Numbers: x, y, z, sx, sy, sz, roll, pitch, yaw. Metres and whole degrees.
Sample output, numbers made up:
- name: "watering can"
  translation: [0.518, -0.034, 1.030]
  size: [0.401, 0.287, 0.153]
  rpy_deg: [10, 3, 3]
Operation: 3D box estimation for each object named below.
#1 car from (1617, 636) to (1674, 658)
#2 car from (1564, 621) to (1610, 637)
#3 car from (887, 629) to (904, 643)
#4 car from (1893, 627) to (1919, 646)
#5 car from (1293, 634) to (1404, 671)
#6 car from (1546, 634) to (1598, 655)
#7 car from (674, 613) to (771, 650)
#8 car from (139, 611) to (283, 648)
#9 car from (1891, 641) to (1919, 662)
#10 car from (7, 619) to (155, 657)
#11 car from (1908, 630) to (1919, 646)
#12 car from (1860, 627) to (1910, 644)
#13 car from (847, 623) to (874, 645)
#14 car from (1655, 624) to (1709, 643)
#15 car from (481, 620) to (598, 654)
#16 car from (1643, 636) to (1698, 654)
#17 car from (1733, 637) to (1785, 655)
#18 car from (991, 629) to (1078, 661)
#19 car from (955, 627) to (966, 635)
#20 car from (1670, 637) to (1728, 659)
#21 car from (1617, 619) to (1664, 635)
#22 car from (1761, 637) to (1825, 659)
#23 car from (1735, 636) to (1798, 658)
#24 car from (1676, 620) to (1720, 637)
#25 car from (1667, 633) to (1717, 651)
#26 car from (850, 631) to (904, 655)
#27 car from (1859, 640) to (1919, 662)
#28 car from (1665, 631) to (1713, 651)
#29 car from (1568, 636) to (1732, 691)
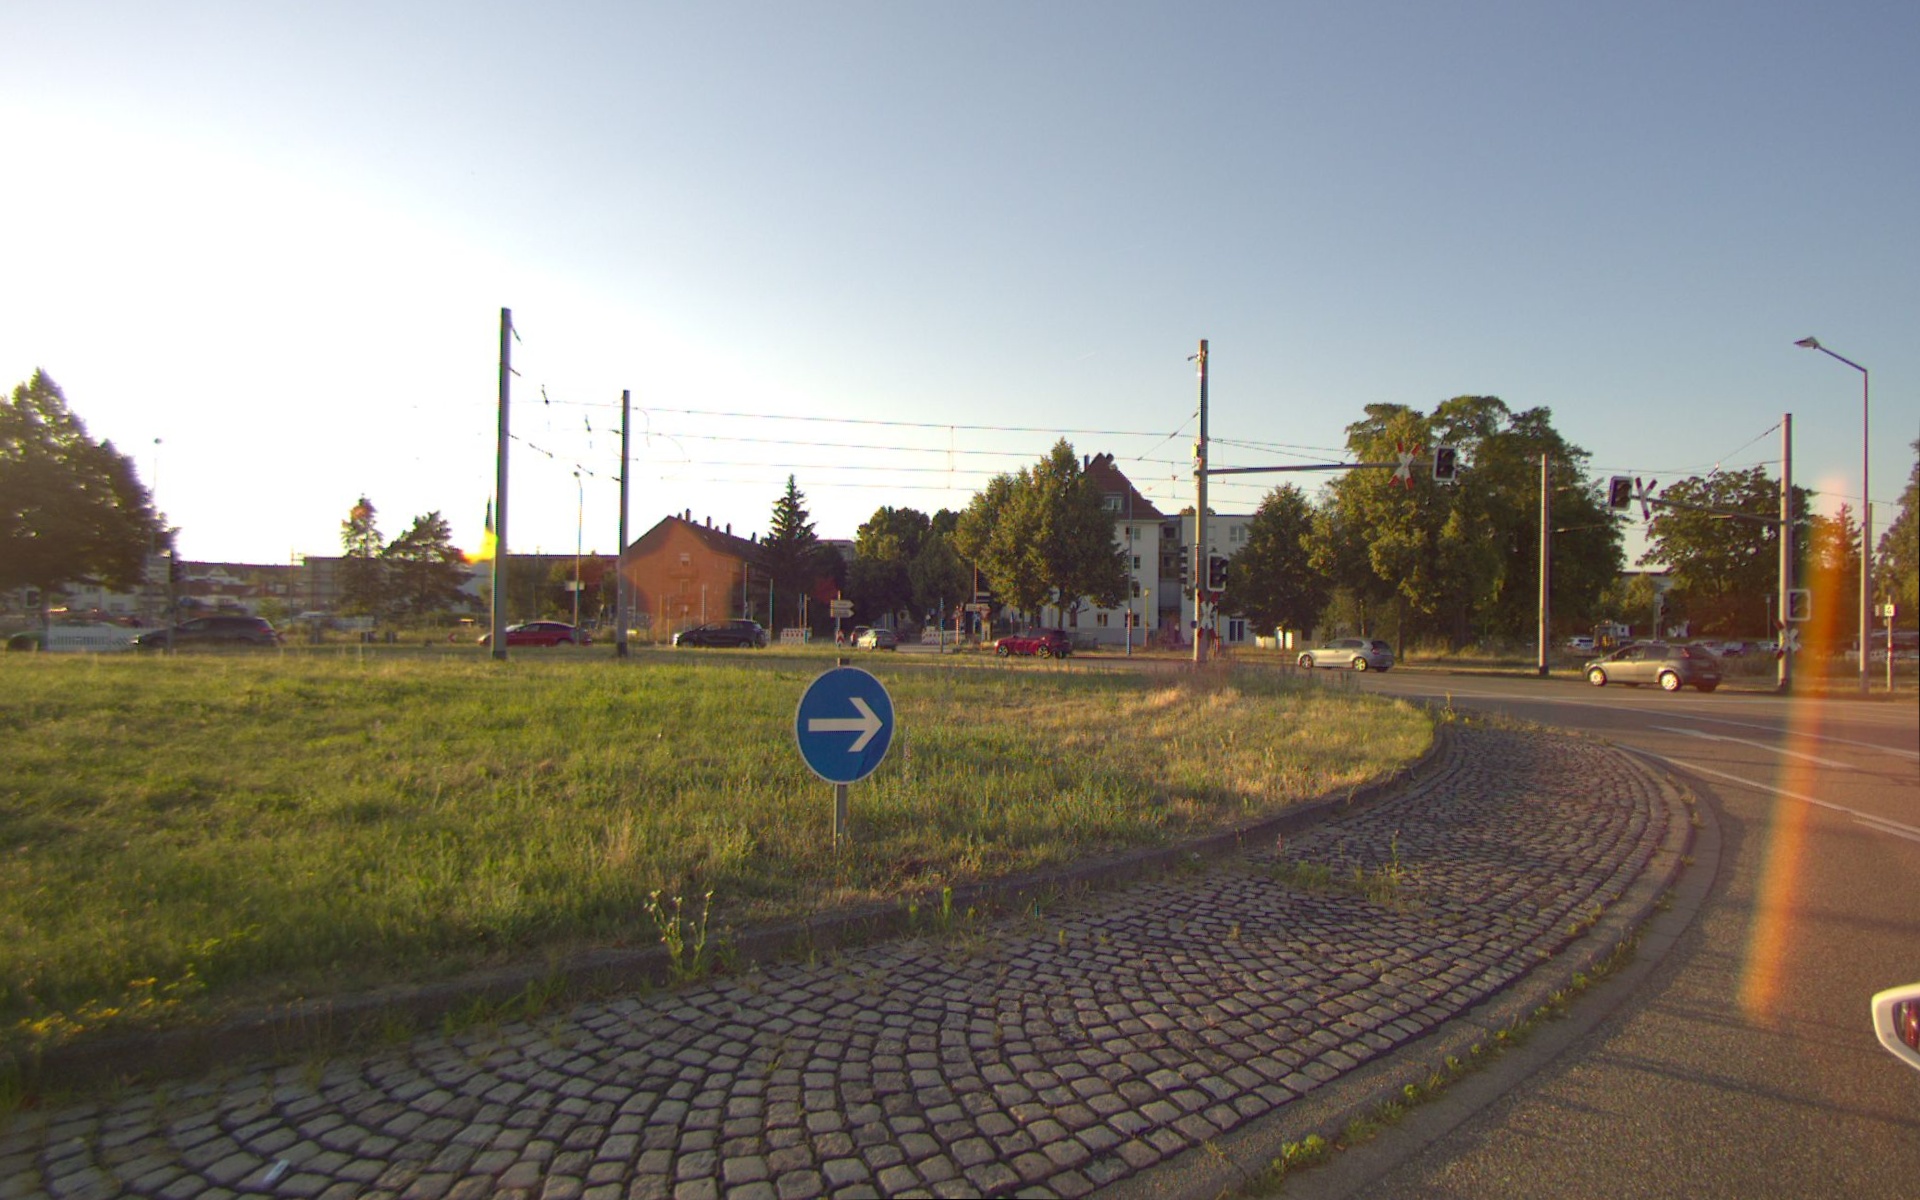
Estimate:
- name: "car"
  translation: [54.745, 3.722, 80.261]
  size: [1.960, 1.625, 4.002]
  rpy_deg: [1, -1, 3]
- name: "car"
  translation: [79.598, 3.685, 127.532]
  size: [4.507, 2.040, 2.000]
  rpy_deg: [1, -1, 0]
- name: "car"
  translation: [-6.925, 3.867, 108.009]
  size: [1.661, 1.372, 4.000]
  rpy_deg: [1, -1, 0]
- name: "car"
  translation: [107.462, 4.064, 112.486]
  size: [3.919, 2.040, 2.001]
  rpy_deg: [1, -1, 11]
- name: "car"
  translation: [16.502, 2.210, 42.819]
  size: [1.850, 1.408, 4.119]
  rpy_deg: [2, -1, -37]
- name: "car"
  translation: [49.404, 3.564, 81.157]
  size: [1.960, 1.625, 4.002]
  rpy_deg: [1, -1, 3]
- name: "car"
  translation: [-10.824, 1.441, 45.886]
  size: [3.920, 1.605, 1.896]
  rpy_deg: [1, -1, 3]
- name: "car"
  translation: [-29.597, 1.172, 39.878]
  size: [4.334, 1.394, 1.983]
  rpy_deg: [1, -1, -31]
- name: "car"
  translation: [76.341, 4.112, 79.384]
  size: [1.960, 1.625, 4.002]
  rpy_deg: [1, -1, 3]
- name: "car"
  translation: [-38.535, 1.680, 44.174]
  size: [4.410, 1.600, 1.994]
  rpy_deg: [1, -1, -15]
- name: "car"
  translation: [105.592, 4.146, 108.610]
  size: [1.971, 1.728, 3.979]
  rpy_deg: [1, -1, -22]
- name: "car"
  translation: [108.045, 4.165, 117.337]
  size: [3.919, 1.840, 2.001]
  rpy_deg: [1, -1, 5]
- name: "car"
  translation: [-8.221, 2.792, 82.622]
  size: [1.964, 1.659, 4.518]
  rpy_deg: [0, 0, -9]
- name: "car"
  translation: [80.238, 3.677, 111.647]
  size: [4.507, 2.040, 2.000]
  rpy_deg: [1, -1, 0]
- name: "car"
  translation: [-18.629, 1.647, 44.672]
  size: [4.416, 1.410, 1.892]
  rpy_deg: [1, -1, -10]
- name: "car"
  translation: [69.210, 4.356, 97.846]
  size: [3.919, 1.684, 1.904]
  rpy_deg: [1, -1, 5]
- name: "car"
  translation: [77.347, 4.446, 97.323]
  size: [3.938, 1.684, 1.894]
  rpy_deg: [0, -1, 39]
- name: "car"
  translation: [4.013, 2.425, 54.591]
  size: [4.343, 1.594, 1.993]
  rpy_deg: [0, -1, 36]
- name: "car"
  translation: [0.091, 6.141, 200.220]
  size: [1.960, 1.618, 4.002]
  rpy_deg: [1, -1, 5]
- name: "car"
  translation: [59.505, 3.871, 80.959]
  size: [1.960, 1.625, 4.002]
  rpy_deg: [1, -1, 3]
- name: "car"
  translation: [86.273, 3.417, 127.343]
  size: [4.505, 2.040, 2.001]
  rpy_deg: [1, -1, 5]
- name: "car"
  translation: [66.357, 3.811, 80.087]
  size: [1.960, 1.625, 4.002]
  rpy_deg: [1, -1, 3]
- name: "car"
  translation: [64.040, 3.739, 79.847]
  size: [1.960, 1.625, 4.002]
  rpy_deg: [1, -1, 3]
- name: "car"
  translation: [93.223, 3.626, 126.930]
  size: [4.033, 2.040, 2.001]
  rpy_deg: [1, -1, 4]
- name: "car"
  translation: [73.163, 4.215, 100.488]
  size: [3.934, 1.684, 1.994]
  rpy_deg: [0, -1, 35]
- name: "car"
  translation: [-5.636, 2.839, 67.519]
  size: [1.864, 1.483, 4.635]
  rpy_deg: [1, -1, -29]
- name: "car"
  translation: [73.870, 4.037, 79.537]
  size: [1.960, 1.625, 4.002]
  rpy_deg: [1, -1, 3]
- name: "car"
  translation: [76.037, 4.269, 104.802]
  size: [3.934, 2.040, 1.994]
  rpy_deg: [0, -1, 35]
- name: "car"
  translation: [22.133, 2.000, 32.420]
  size: [1.837, 1.473, 4.150]
  rpy_deg: [3, -1, -15]
